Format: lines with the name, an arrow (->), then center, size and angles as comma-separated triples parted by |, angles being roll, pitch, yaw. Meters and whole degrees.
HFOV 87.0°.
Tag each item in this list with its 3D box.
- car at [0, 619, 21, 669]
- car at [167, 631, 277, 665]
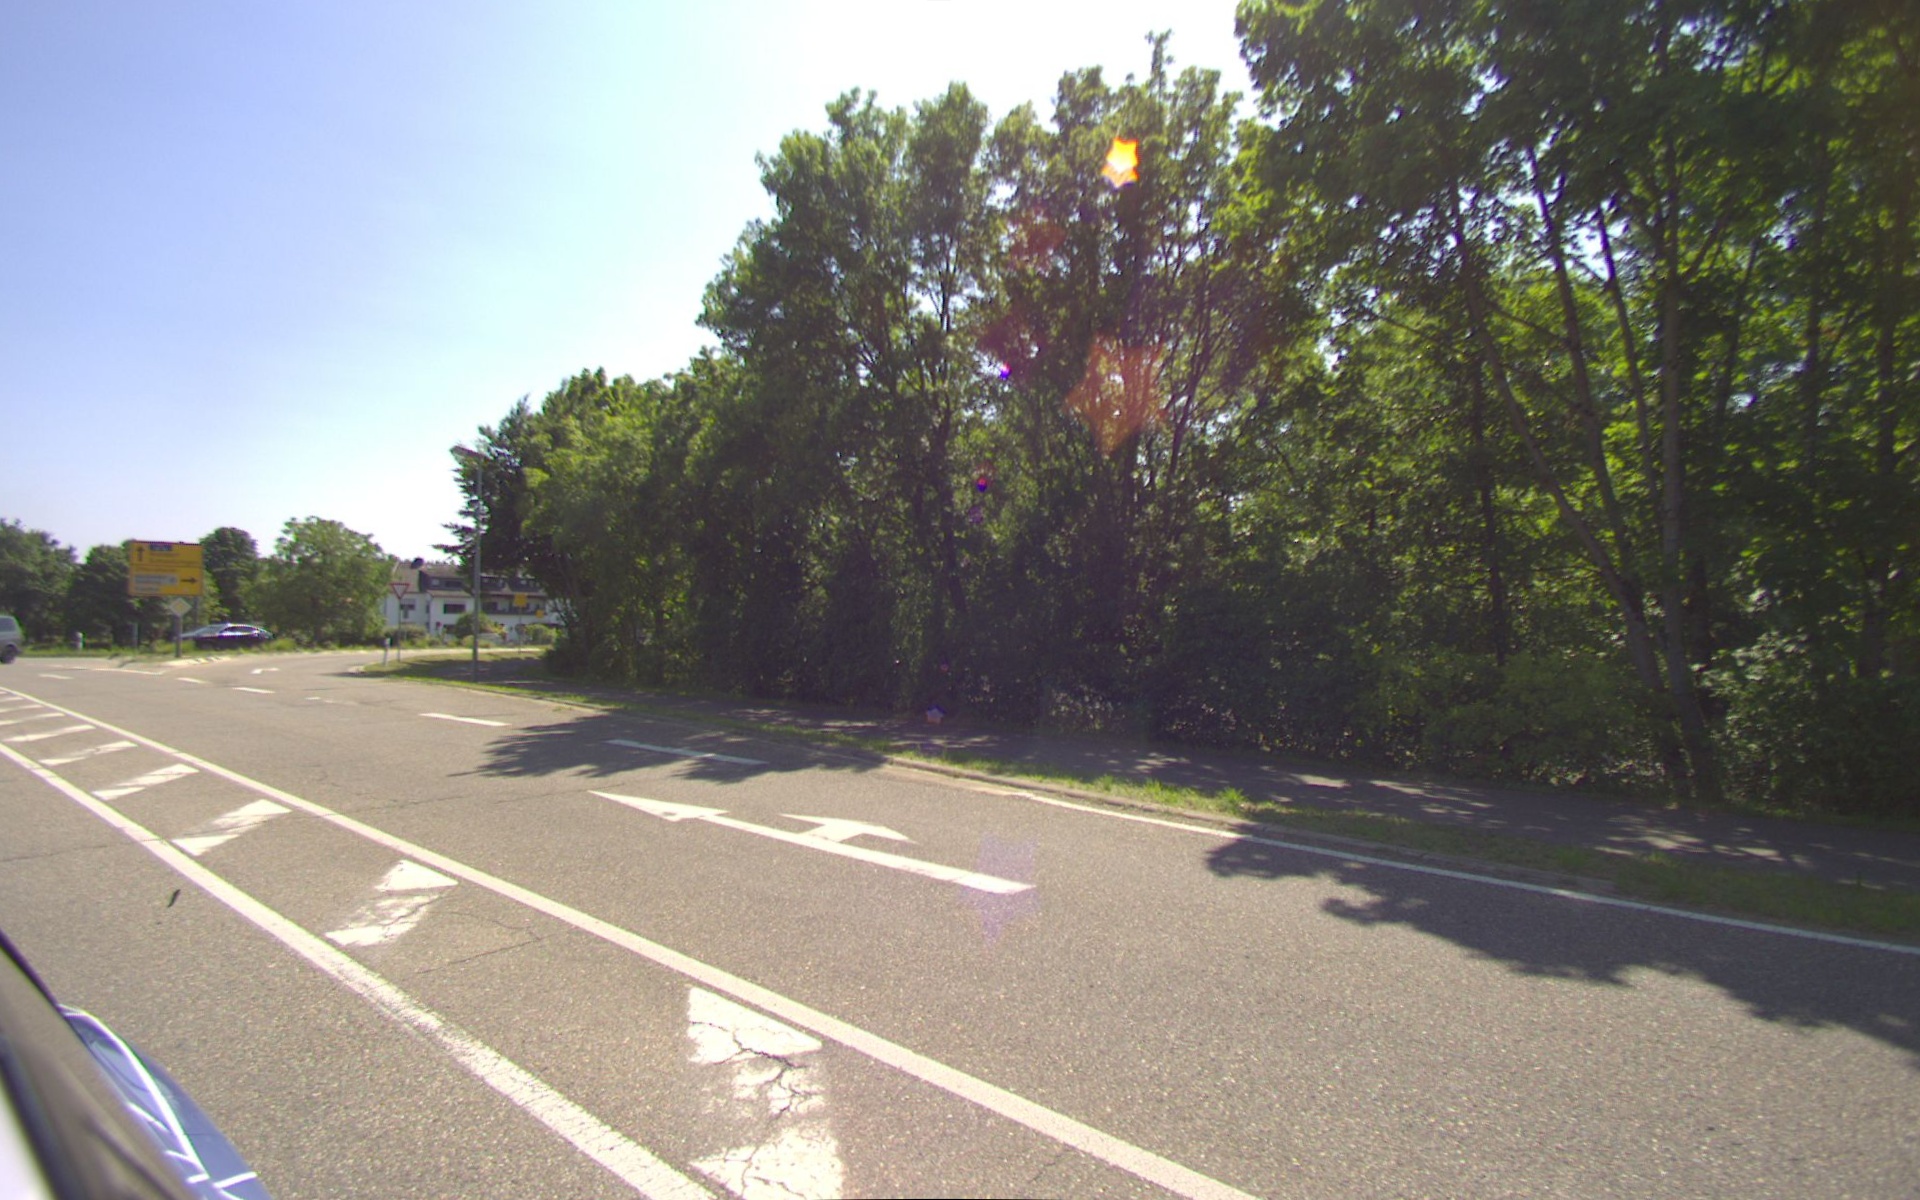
car -> -39.641, 1.746, 39.506 | 1.968, 2.029, 4.773 | -1, -2, -8
car -> -37.697, 2.422, 51.808 | 1.736, 1.658, 4.346 | -2, -2, 20
